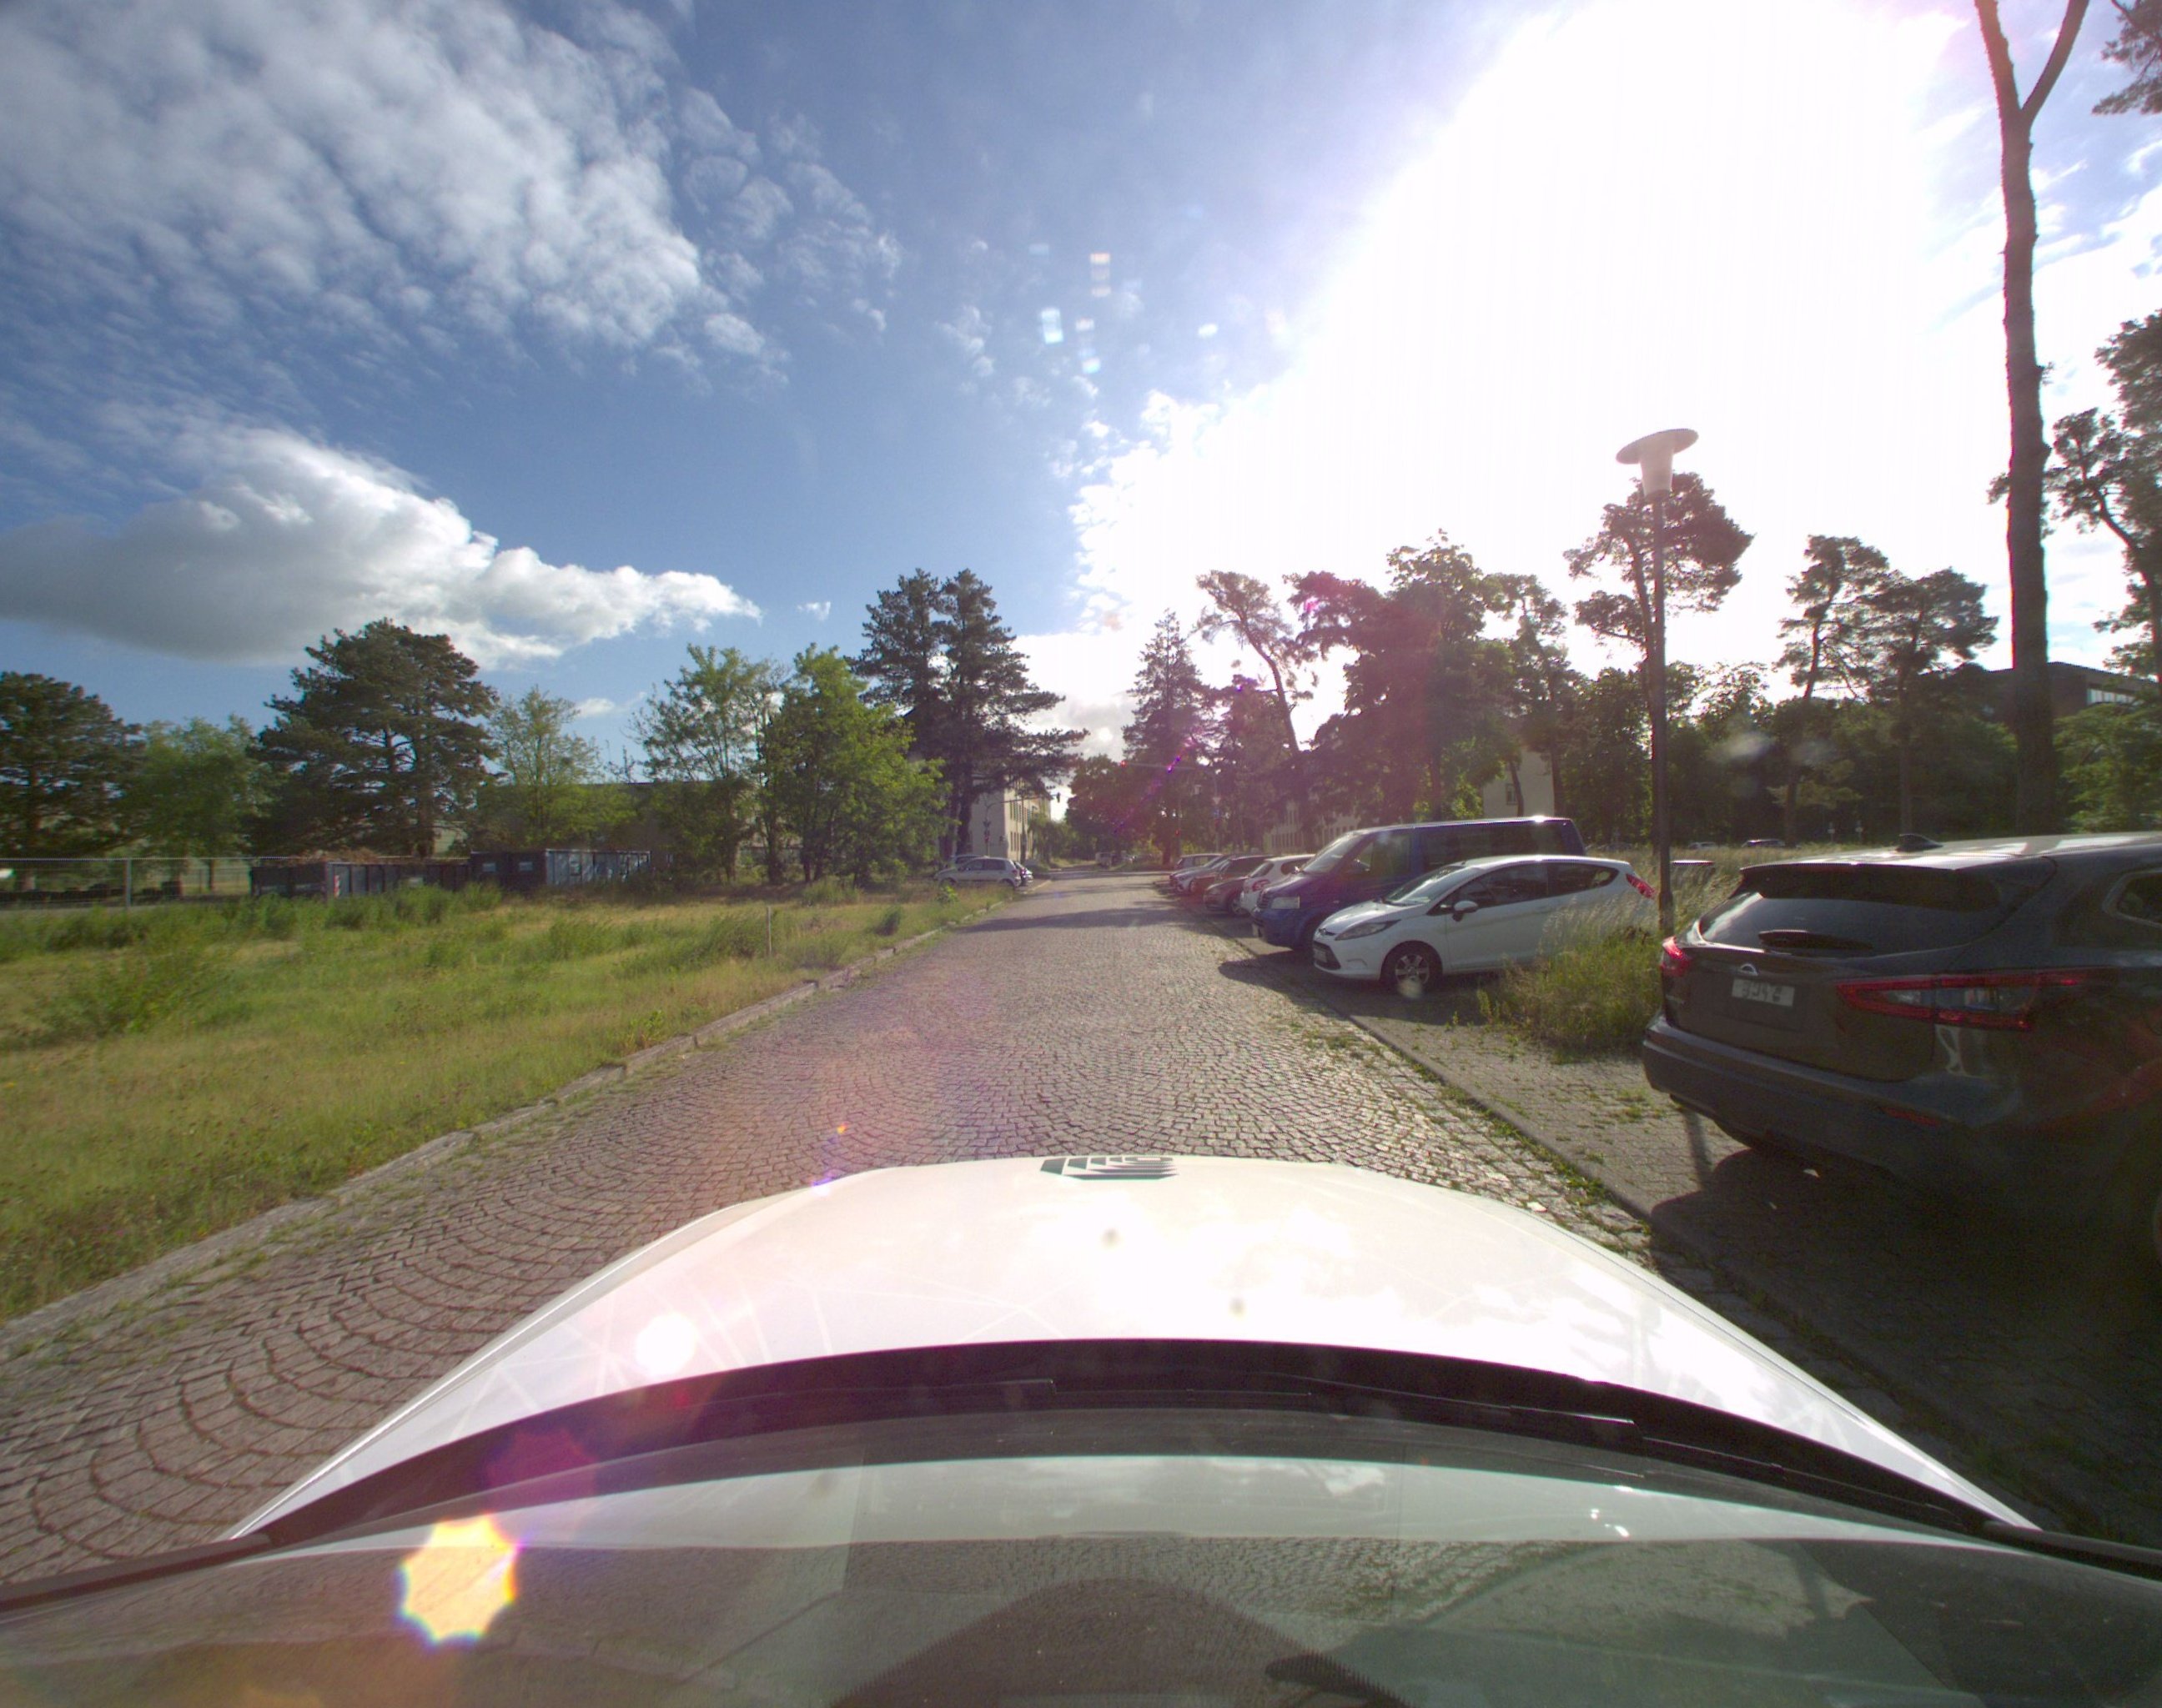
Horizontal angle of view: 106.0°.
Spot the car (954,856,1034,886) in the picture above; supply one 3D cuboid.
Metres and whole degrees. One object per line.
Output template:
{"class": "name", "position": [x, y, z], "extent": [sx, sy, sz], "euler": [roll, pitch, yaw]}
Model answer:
{"class": "car", "position": [-4.563, 0.889, 43.356], "extent": [3.973, 1.453, 2.000], "euler": [1, 0, 1]}

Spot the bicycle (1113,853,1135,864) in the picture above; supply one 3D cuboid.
{"class": "bicycle", "position": [4.585, 0.441, 86.325], "extent": [2.172, 1.100, 0.804], "euler": [-1, 0, -9]}

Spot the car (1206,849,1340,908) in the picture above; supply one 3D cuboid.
{"class": "car", "position": [5.480, 0.677, 23.486], "extent": [3.466, 1.529, 1.645], "euler": [-2, 0, 0]}

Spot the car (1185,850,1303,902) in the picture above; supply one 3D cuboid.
{"class": "car", "position": [5.181, 0.684, 26.186], "extent": [3.466, 1.529, 1.645], "euler": [-2, 0, 0]}

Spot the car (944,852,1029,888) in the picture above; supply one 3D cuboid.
{"class": "car", "position": [-4.708, 0.790, 40.957], "extent": [3.973, 1.601, 2.000], "euler": [2, 0, 1]}

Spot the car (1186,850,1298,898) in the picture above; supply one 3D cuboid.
{"class": "car", "position": [5.595, 0.674, 28.536], "extent": [3.591, 1.529, 1.645], "euler": [-2, 0, 0]}

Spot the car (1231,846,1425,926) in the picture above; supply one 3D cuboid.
{"class": "car", "position": [5.253, 0.664, 17.681], "extent": [3.680, 1.465, 1.646], "euler": [-3, 0, 2]}

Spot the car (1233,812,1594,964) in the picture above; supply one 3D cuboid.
{"class": "car", "position": [4.895, 0.472, 12.509], "extent": [4.664, 2.013, 2.082], "euler": [-2, 0, -2]}

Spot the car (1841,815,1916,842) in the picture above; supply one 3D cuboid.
{"class": "car", "position": [64.006, -2.037, 65.386], "extent": [3.972, 2.013, 2.001], "euler": [-2, 0, 1]}

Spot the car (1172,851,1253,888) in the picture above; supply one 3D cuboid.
{"class": "car", "position": [5.787, 0.670, 36.131], "extent": [3.332, 1.483, 1.645], "euler": [-2, 0, 0]}

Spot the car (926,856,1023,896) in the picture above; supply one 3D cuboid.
{"class": "car", "position": [-4.587, 0.928, 35.561], "extent": [3.976, 1.600, 1.999], "euler": [-2, 0, -1]}

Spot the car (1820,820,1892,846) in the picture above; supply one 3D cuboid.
{"class": "car", "position": [64.153, -1.749, 67.448], "extent": [3.972, 2.013, 2.001], "euler": [-2, 0, 1]}

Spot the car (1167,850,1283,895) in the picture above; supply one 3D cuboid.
{"class": "car", "position": [5.373, 0.680, 30.724], "extent": [4.024, 1.529, 1.644], "euler": [-2, 0, -2]}

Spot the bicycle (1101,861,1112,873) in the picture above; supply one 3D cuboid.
{"class": "bicycle", "position": [2.571, 1.280, 81.751], "extent": [0.803, 1.169, 2.177], "euler": [-3, 0, -4]}

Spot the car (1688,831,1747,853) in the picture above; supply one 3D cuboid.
{"class": "car", "position": [60.455, -1.141, 77.413], "extent": [3.972, 2.013, 2.001], "euler": [-2, 0, 1]}

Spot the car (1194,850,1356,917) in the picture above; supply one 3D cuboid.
{"class": "car", "position": [4.826, 0.724, 20.579], "extent": [3.663, 1.467, 1.645], "euler": [-2, 0, 0]}

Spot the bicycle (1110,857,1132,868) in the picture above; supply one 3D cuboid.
{"class": "bicycle", "position": [4.163, 0.876, 85.184], "extent": [2.172, 1.100, 0.804], "euler": [-1, 0, -9]}

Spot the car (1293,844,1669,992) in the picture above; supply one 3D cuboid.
{"class": "car", "position": [4.653, 0.702, 9.832], "extent": [3.708, 1.488, 1.645], "euler": [-2, 0, -1]}

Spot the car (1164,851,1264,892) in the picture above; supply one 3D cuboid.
{"class": "car", "position": [5.406, 0.703, 33.496], "extent": [3.823, 1.529, 1.645], "euler": [-2, 0, 0]}

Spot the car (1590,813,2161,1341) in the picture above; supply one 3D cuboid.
{"class": "car", "position": [4.664, 0.645, 3.429], "extent": [3.923, 1.621, 1.772], "euler": [-2, 0, 0]}

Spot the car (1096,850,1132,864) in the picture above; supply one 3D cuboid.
{"class": "car", "position": [4.181, 0.407, 102.667], "extent": [4.465, 1.728, 2.000], "euler": [-1, 0, 1]}
